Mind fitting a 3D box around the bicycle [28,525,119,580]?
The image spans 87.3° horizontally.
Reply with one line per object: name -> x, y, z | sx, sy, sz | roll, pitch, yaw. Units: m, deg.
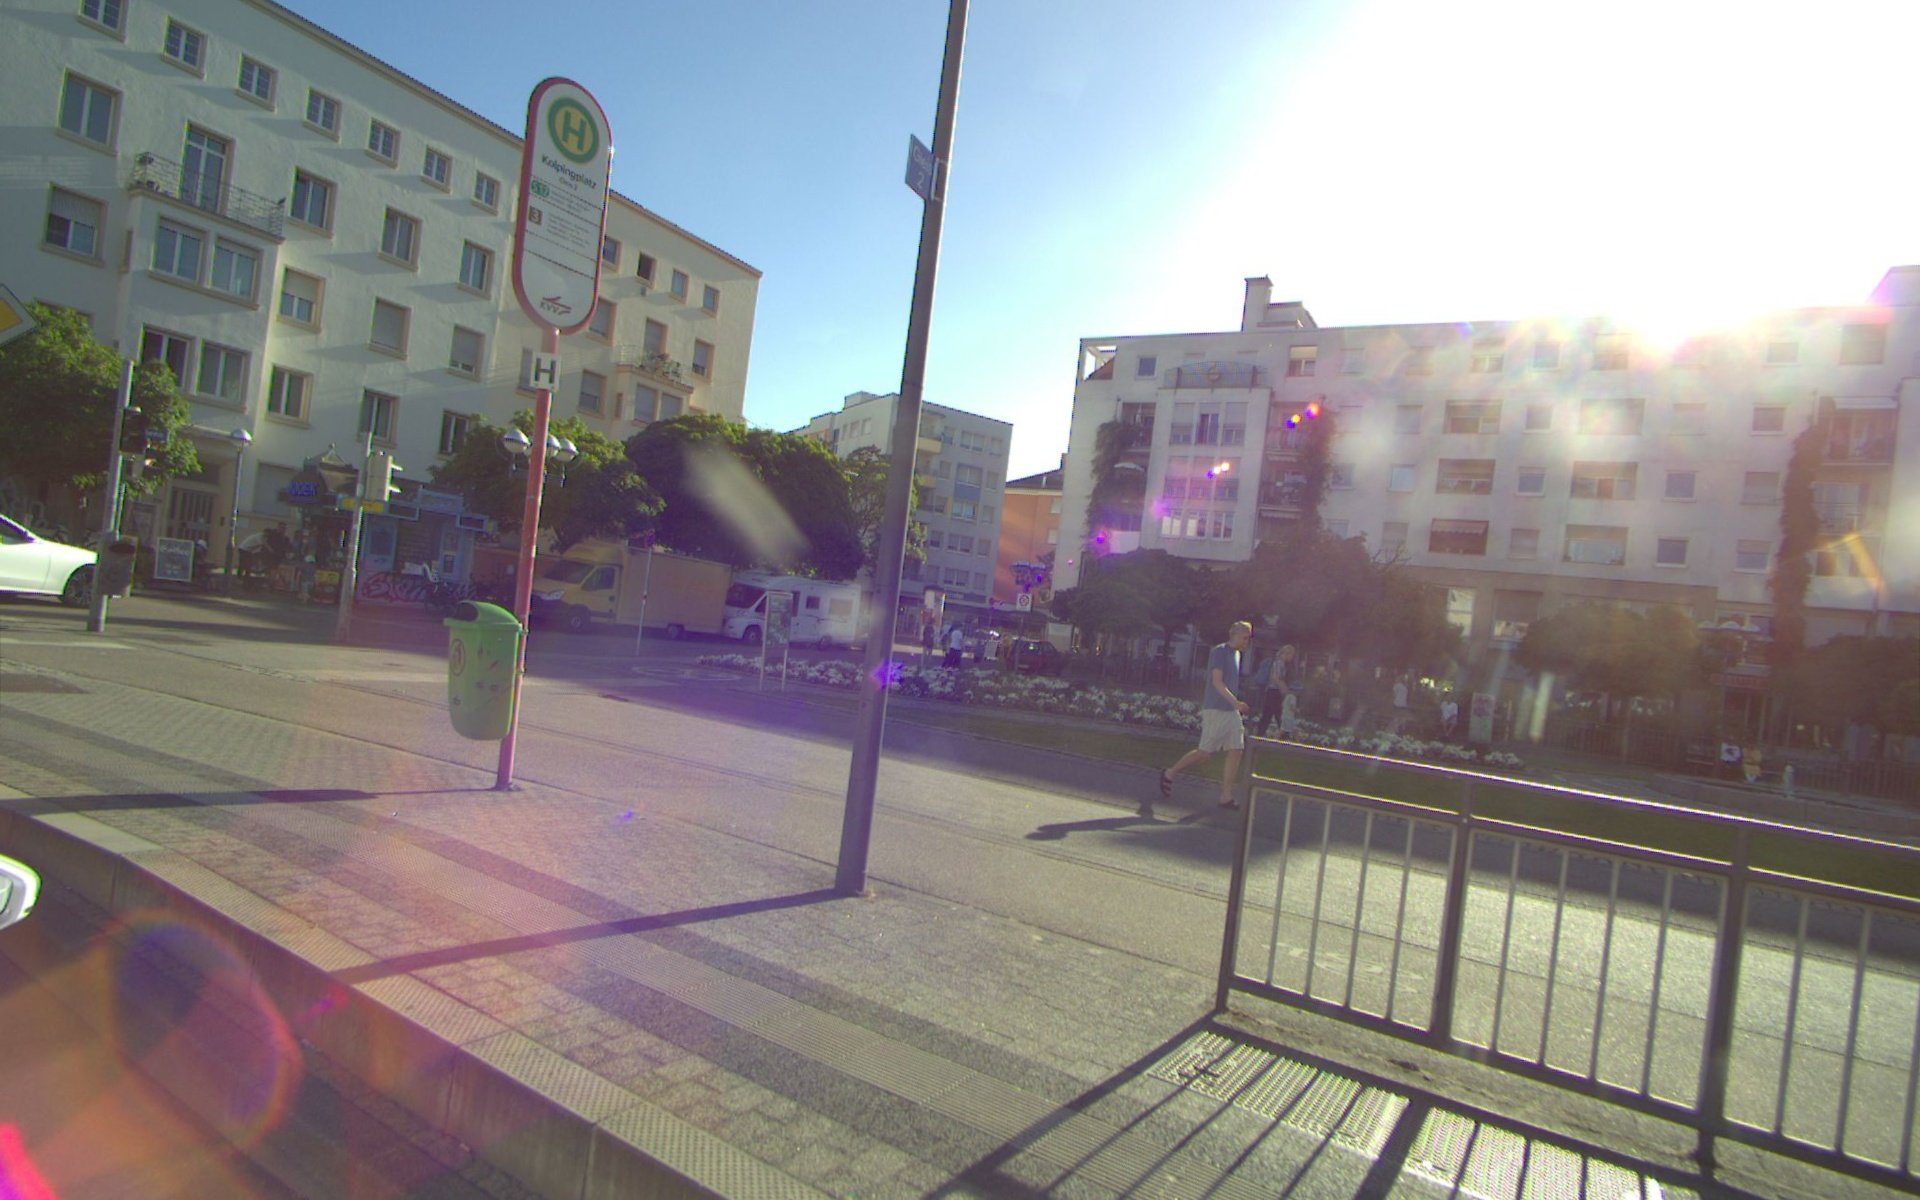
bicycle -> -21.890, -1.159, 24.871 | 0.296, 1.133, 1.565 | 6, -2, 42

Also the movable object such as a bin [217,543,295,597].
movable object such as a bin -> -18.344, -0.777, 26.216 | 1.197, 1.167, 1.200 | 6, -1, 32

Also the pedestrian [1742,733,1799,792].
pedestrian -> 20.133, 4.028, 24.998 | 0.718, 1.287, 0.745 | 7, 0, 11

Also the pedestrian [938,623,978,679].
pedestrian -> -0.049, 1.584, 30.896 | 0.651, 1.604, 0.902 | 7, -1, 35

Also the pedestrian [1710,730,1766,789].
pedestrian -> 19.430, 3.971, 25.136 | 0.718, 1.287, 0.745 | 7, 0, 11

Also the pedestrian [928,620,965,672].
pedestrian -> -0.452, 1.530, 33.486 | 0.651, 1.604, 0.902 | 7, -1, 35

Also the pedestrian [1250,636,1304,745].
pedestrian -> 5.382, 1.544, 17.068 | 0.520, 1.765, 0.557 | 6, -2, 42

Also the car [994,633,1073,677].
car -> 3.110, 2.312, 41.863 | 1.964, 1.503, 4.000 | 7, -2, 23

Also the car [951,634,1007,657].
car -> 1.344, 3.220, 70.489 | 1.799, 1.165, 3.986 | 6, -2, 39

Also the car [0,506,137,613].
car -> -15.077, -0.776, 14.528 | 1.953, 1.480, 4.822 | 7, -2, 7

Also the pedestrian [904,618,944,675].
pedestrian -> -1.147, 1.482, 32.074 | 0.684, 1.705, 0.902 | 7, -1, 35

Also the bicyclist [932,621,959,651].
bicyclist -> -0.659, 1.652, 45.862 | 0.938, 1.239, 0.933 | 8, -2, -8

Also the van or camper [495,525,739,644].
van or camper -> -10.517, -0.354, 31.680 | 2.331, 2.780, 7.132 | 8, -1, 32

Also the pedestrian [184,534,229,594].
pedestrian -> -18.212, -0.867, 24.331 | 0.736, 1.331, 0.622 | 7, -1, -35

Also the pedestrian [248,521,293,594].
pedestrian -> -18.523, -1.144, 27.032 | 0.649, 1.861, 0.653 | 7, 0, 35

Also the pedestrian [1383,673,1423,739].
pedestrian -> 12.567, 2.999, 28.569 | 0.661, 1.745, 1.028 | 7, 0, 11

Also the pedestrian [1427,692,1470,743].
pedestrian -> 13.867, 3.333, 28.555 | 0.718, 1.287, 1.042 | 7, -1, 11

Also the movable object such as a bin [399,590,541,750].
movable object such as a bin -> -2.689, 0.383, 5.530 | 0.481, 0.795, 0.449 | 6, -1, 35

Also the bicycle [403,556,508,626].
bicycle -> -13.712, -0.209, 27.418 | 0.714, 1.548, 2.391 | 7, -3, 31

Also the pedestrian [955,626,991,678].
pedestrian -> 0.447, 1.741, 33.655 | 0.651, 1.604, 0.902 | 7, -1, 35

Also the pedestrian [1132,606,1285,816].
pedestrian -> 2.525, 1.087, 10.177 | 1.110, 1.900, 0.983 | 6, -1, 30

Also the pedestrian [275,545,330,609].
pedestrian -> -16.273, -0.573, 24.914 | 0.742, 1.427, 0.731 | 10, 1, 32

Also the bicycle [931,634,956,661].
bicycle -> -0.756, 2.150, 45.899 | 0.709, 1.073, 2.321 | 8, -3, -8

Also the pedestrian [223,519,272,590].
pedestrian -> -19.889, -1.269, 28.080 | 0.668, 1.861, 0.785 | 7, 0, 35

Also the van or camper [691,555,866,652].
van or camper -> -6.653, 0.215, 37.754 | 2.341, 2.873, 6.410 | 7, -1, 35

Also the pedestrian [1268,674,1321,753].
pedestrian -> 5.367, 1.819, 16.144 | 0.550, 1.182, 0.469 | 5, -2, 40

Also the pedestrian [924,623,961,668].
pedestrian -> -0.553, 1.430, 31.701 | 0.595, 1.295, 0.902 | 7, -1, 35

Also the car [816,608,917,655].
car -> -4.035, 1.394, 43.753 | 1.974, 1.528, 3.982 | 5, -3, 43
